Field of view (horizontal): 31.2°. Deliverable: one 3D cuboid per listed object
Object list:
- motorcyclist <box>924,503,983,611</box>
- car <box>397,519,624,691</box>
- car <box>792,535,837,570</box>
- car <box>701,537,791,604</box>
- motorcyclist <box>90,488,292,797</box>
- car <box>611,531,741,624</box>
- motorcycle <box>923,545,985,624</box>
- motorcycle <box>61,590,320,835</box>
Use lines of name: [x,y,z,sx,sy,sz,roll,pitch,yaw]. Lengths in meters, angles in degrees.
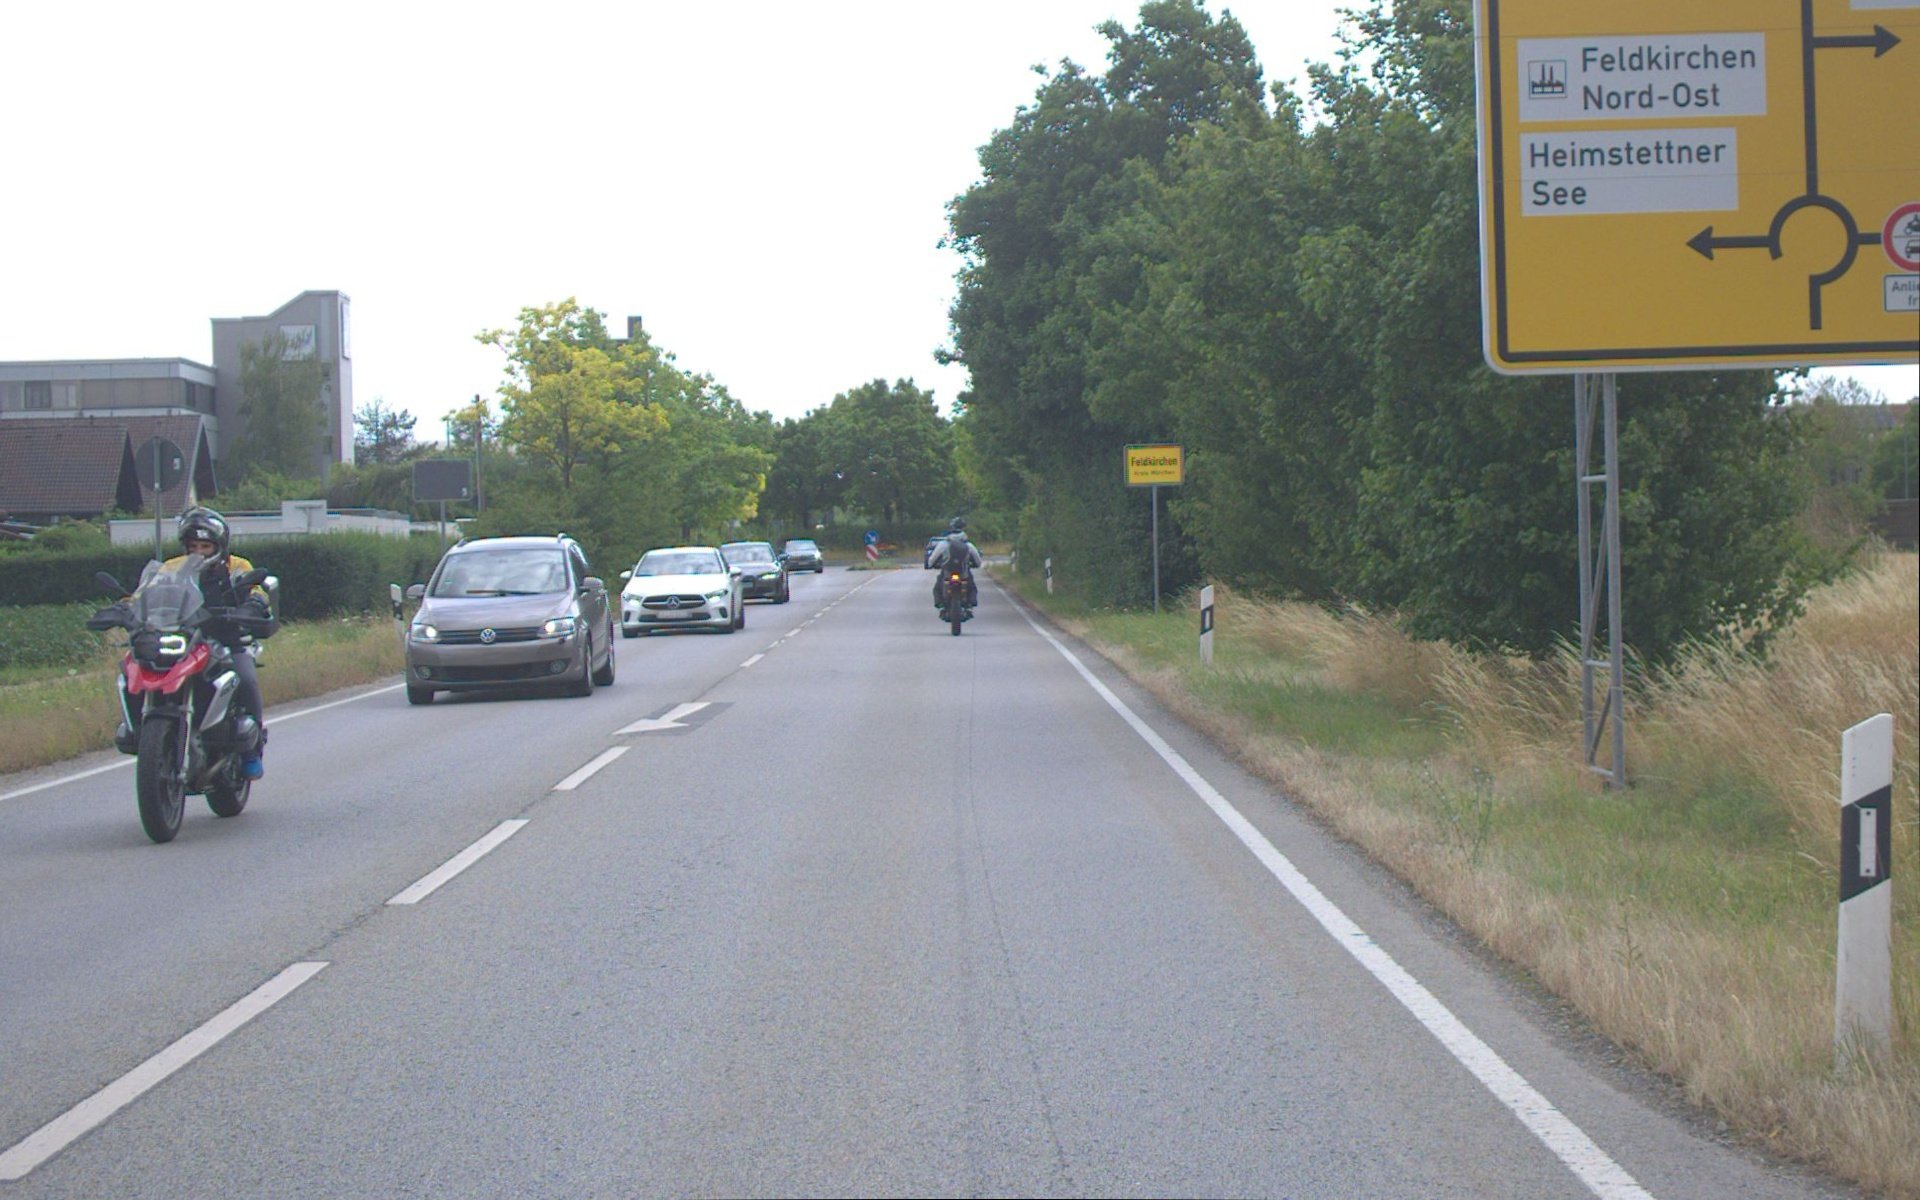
motorcyclist: [-0.109,-0.655,52.628,0.861,1.618,1.191,-1,1,-1]
car: [-4.430,0.009,34.449,1.704,1.534,4.302,-3,1,-1]
car: [-6.507,-2.141,153.954,1.815,1.489,4.204,-2,1,-1]
car: [-5.006,-0.711,80.811,1.852,1.459,4.371,-2,1,-1]
motorcyclist: [-4.040,0.209,18.135,0.797,1.568,1.078,-1,1,-1]
car: [-4.604,-0.388,56.237,1.773,1.368,4.100,-3,1,-1]
motorcycle: [-0.100,-0.254,52.634,0.896,1.154,2.620,-1,1,-1]
motorcycle: [-4.031,0.552,18.236,0.797,1.154,2.620,-1,1,-1]
